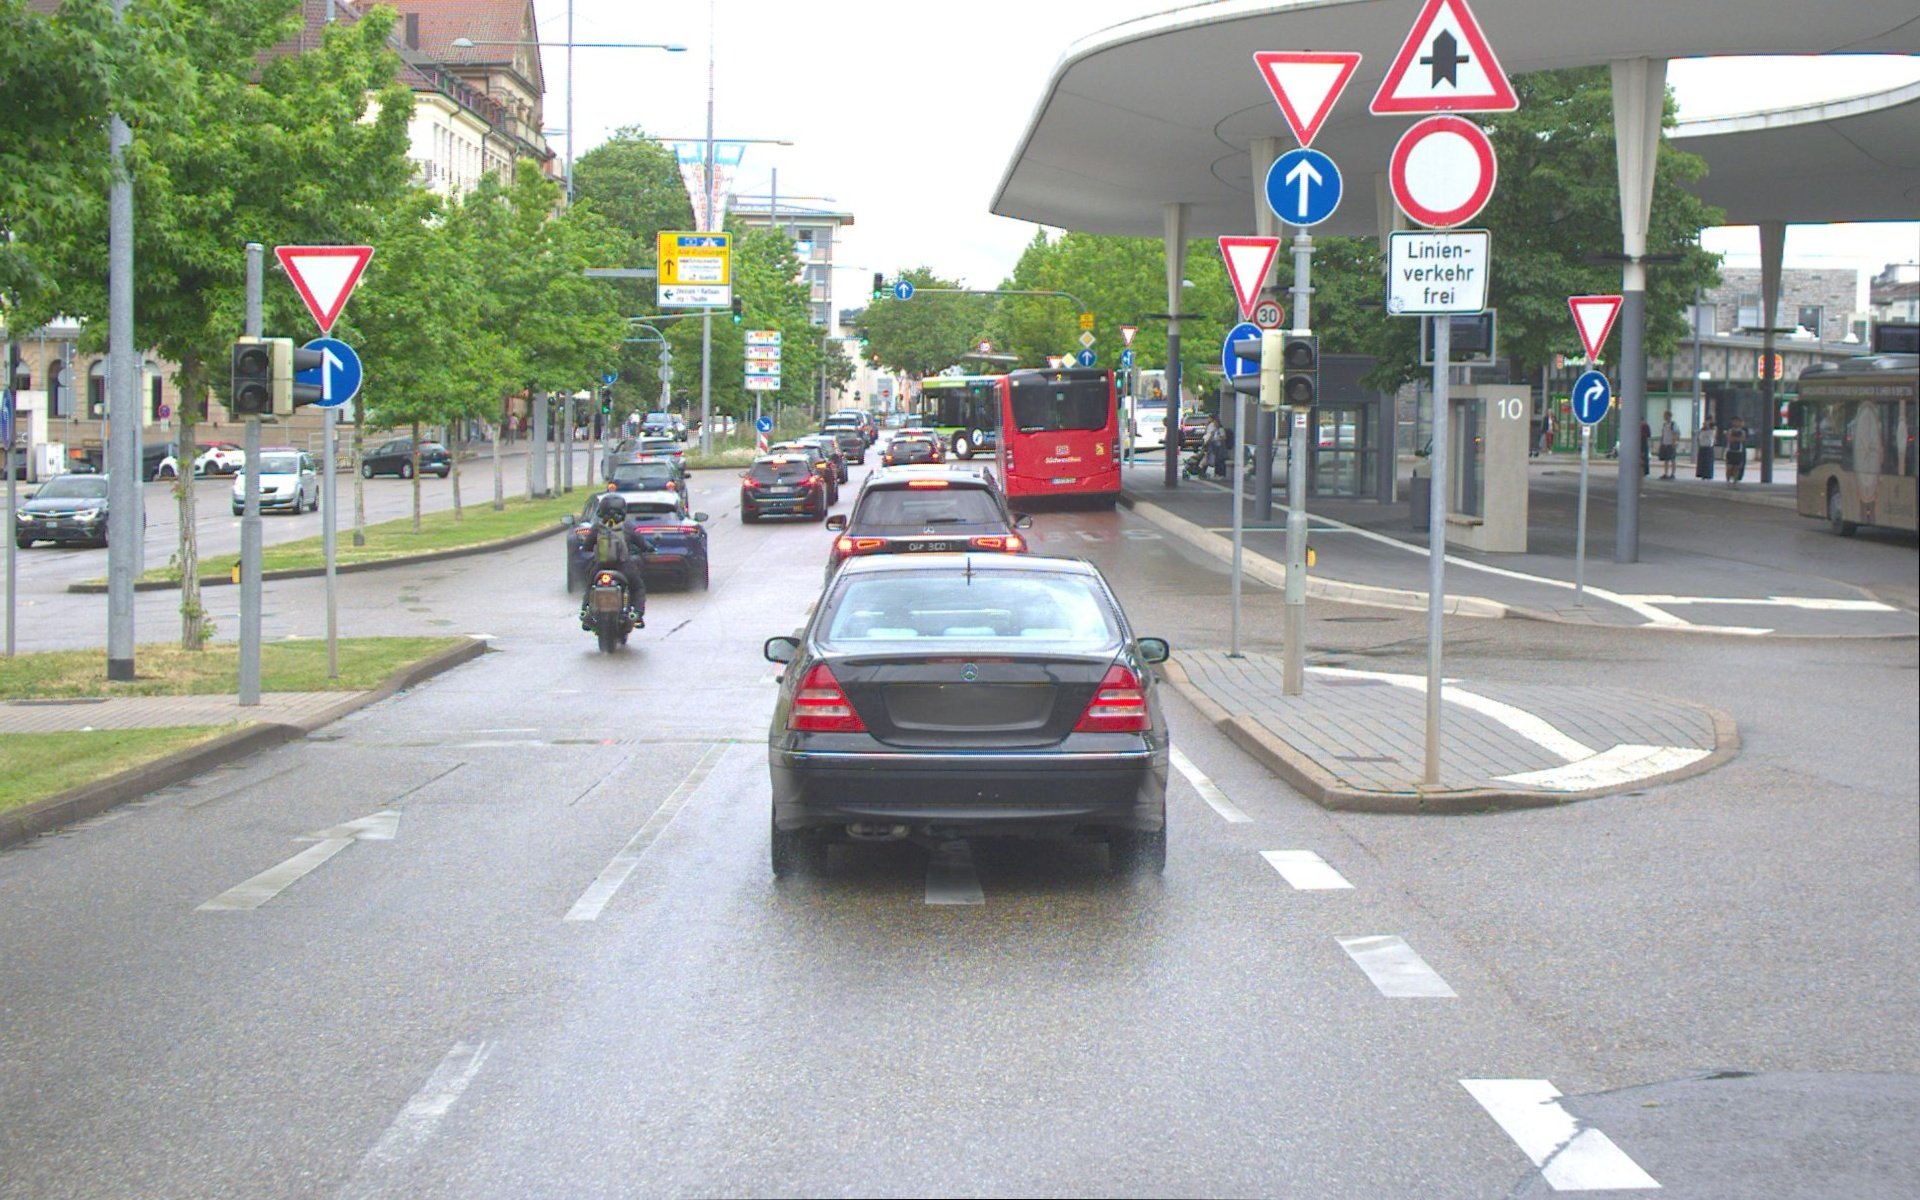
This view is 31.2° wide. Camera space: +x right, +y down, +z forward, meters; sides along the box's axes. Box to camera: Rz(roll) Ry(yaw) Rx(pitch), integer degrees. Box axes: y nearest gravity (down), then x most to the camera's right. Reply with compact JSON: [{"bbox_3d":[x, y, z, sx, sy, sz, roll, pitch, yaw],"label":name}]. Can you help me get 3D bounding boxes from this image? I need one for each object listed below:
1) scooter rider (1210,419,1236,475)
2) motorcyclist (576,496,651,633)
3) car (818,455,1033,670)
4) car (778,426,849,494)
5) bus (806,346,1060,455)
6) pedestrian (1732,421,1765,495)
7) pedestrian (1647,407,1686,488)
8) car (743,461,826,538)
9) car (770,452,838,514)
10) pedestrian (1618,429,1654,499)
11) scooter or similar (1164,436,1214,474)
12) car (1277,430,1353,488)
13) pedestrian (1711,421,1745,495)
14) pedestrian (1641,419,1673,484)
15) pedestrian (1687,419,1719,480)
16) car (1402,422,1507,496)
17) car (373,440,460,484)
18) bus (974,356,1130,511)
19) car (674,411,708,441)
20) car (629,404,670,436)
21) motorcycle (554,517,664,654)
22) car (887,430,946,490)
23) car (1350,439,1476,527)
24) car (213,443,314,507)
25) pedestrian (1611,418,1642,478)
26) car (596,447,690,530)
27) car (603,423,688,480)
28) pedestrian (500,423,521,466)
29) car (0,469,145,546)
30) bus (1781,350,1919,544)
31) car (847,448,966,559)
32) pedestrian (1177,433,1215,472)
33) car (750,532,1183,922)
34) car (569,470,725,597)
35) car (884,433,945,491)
[{"bbox_3d":[7.006,-4.086,91.653,0.592,1.484,0.764,0,2,13],"label":"scooter rider"},{"bbox_3d":[-3.494,-0.364,34.719,0.641,1.342,0.689,-1,3,3],"label":"motorcyclist"},{"bbox_3d":[-0.353,-0.451,34.789,1.957,1.869,4.875,-2,3,-1],"label":"car"},{"bbox_3d":[-3.595,-3.481,84.996,1.575,1.561,3.872,-2,3,-1],"label":"car"},{"bbox_3d":[-1.178,-7.560,131.473,2.839,3.973,11.860,-2,4,-40],"label":"bus"},{"bbox_3d":[19.917,-3.595,86.850,0.590,1.868,0.715,2,4,28],"label":"pedestrian"},{"bbox_3d":[18.206,-3.929,88.611,0.724,2.007,0.669,3,-1,26],"label":"pedestrian"},{"bbox_3d":[-3.817,-2.215,75.226,1.575,1.499,3.872,-2,3,0],"label":"car"},{"bbox_3d":[-4.675,-3.495,103.289,1.865,1.678,4.000,3,0,-1],"label":"car"},{"bbox_3d":[15.499,-3.116,78.850,0.598,1.576,0.712,0,1,-10],"label":"pedestrian"},{"bbox_3d":[6.117,-3.883,91.858,1.243,1.009,0.764,0,2,13],"label":"scooter or similar"},{"bbox_3d":[10.804,-4.320,104.897,1.711,1.656,4.241,1,3,-2],"label":"car"},{"bbox_3d":[17.777,-3.292,79.615,0.560,1.686,0.614,0,3,-7],"label":"pedestrian"},{"bbox_3d":[18.871,-4.008,93.106,0.580,1.710,0.560,3,-1,34],"label":"pedestrian"},{"bbox_3d":[19.974,-4.048,92.384,0.580,1.573,0.560,3,-1,34],"label":"pedestrian"},{"bbox_3d":[11.657,-3.356,81.245,1.711,1.656,4.241,1,3,-2],"label":"car"},{"bbox_3d":[-20.053,-5.069,126.734,1.727,1.555,3.768,0,1,-34],"label":"car"},{"bbox_3d":[2.008,-3.899,79.530,3.286,3.280,10.880,-1,3,0],"label":"bus"},{"bbox_3d":[-14.430,-9.346,184.573,1.575,1.561,3.430,-2,3,-1],"label":"car"},{"bbox_3d":[-16.120,-9.352,178.601,1.780,1.561,3.430,-2,3,-1],"label":"car"},{"bbox_3d":[-3.511,-0.164,34.521,0.793,1.257,1.855,-2,3,3],"label":"motorcycle"},{"bbox_3d":[-1.217,-3.938,96.157,1.575,1.561,3.872,-2,3,-1],"label":"car"},{"bbox_3d":[7.908,-2.070,60.250,1.647,1.448,3.238,0,3,-3],"label":"car"},{"bbox_3d":[-18.431,-3.327,91.170,1.847,1.646,4.420,0,3,-1],"label":"car"},{"bbox_3d":[17.844,-4.069,92.086,0.580,1.573,0.560,3,-1,29],"label":"pedestrian"},{"bbox_3d":[-6.844,-2.440,74.558,1.676,1.617,3.872,-2,3,-1],"label":"car"},{"bbox_3d":[-10.330,-4.864,112.704,1.865,1.678,4.001,3,0,-18],"label":"car"},{"bbox_3d":[-21.513,-7.452,164.657,0.724,2.006,0.826,-2,3,-27],"label":"pedestrian"},{"bbox_3d":[-18.293,-1.934,70.743,1.847,1.499,4.920,0,3,0],"label":"car"},{"bbox_3d":[16.354,-2.544,56.345,2.721,3.033,12.092,-1,3,-1],"label":"bus"},{"bbox_3d":[-0.838,-1.550,54.124,1.741,1.561,3.872,-2,3,-1],"label":"car"},{"bbox_3d":[6.302,-3.933,91.817,0.914,0.981,0.633,1,-1,13],"label":"pedestrian"},{"bbox_3d":[-0.019,0.461,15.740,1.697,1.457,4.304,-1,2,-1],"label":"car"},{"bbox_3d":[-4.418,-0.986,49.105,1.816,1.565,4.405,-2,3,-1],"label":"car"},{"bbox_3d":[-1.517,-4.522,113.030,1.865,1.678,4.000,3,0,-1],"label":"car"}]
